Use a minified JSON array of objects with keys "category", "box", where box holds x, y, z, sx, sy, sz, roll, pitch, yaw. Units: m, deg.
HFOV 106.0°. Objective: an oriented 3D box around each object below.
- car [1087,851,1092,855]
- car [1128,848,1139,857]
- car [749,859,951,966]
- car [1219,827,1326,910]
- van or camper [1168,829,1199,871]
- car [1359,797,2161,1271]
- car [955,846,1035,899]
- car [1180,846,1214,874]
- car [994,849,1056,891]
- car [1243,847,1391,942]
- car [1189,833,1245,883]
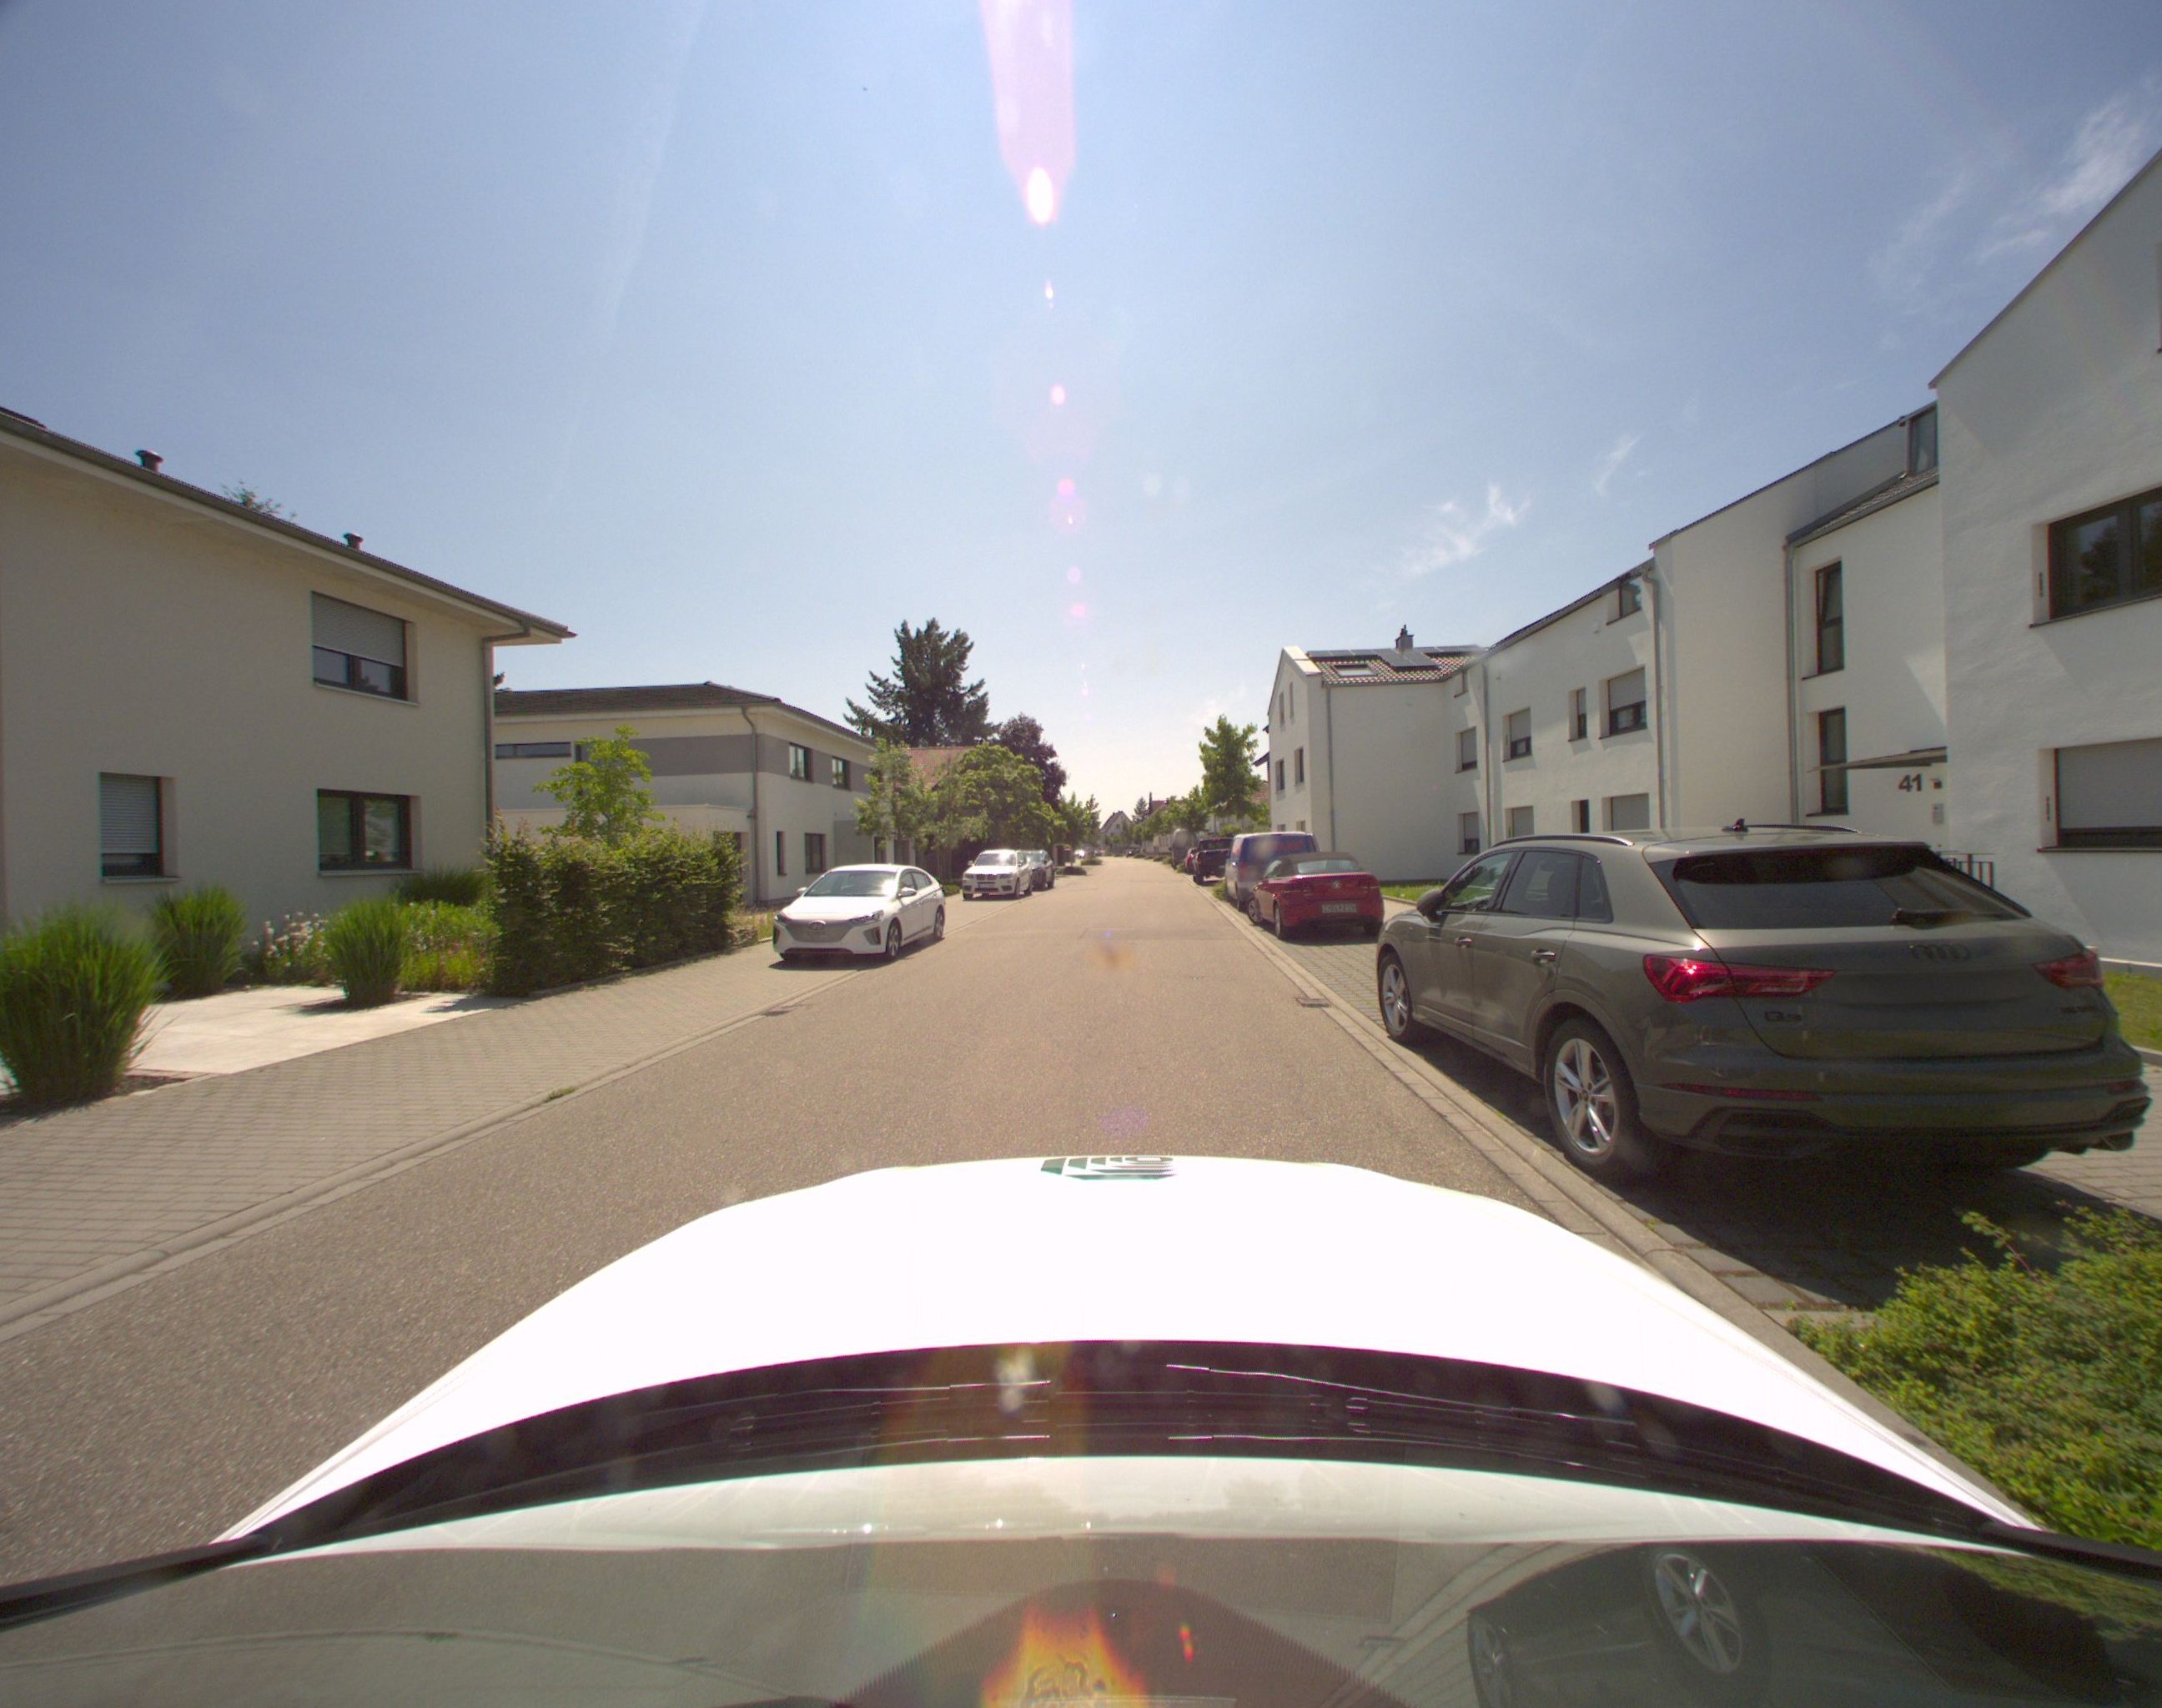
[{"category":"car","box":[2.444,-0.307,225.882,1.186,1.070,3.048,-2,0,-4]},{"category":"car","box":[9.973,-0.279,155.041,1.984,1.574,4.006,-2,0,5]},{"category":"car","box":[-3.682,0.857,13.894,1.843,1.488,4.391,0,0,5]},{"category":"car","box":[4.861,0.339,21.400,2.089,1.882,4.851,-2,0,6]},{"category":"van or camper","box":[7.579,-0.320,60.446,1.984,2.941,4.005,-2,0,5]},{"category":"car","box":[3.225,0.615,4.939,1.766,1.595,4.282,-2,0,3]},{"category":"car","box":[-2.937,0.593,28.873,1.918,1.687,4.505,-2,0,5]},{"category":"car","box":[7.045,0.332,49.735,1.663,1.595,3.558,-2,0,3]},{"category":"car","box":[-2.324,0.649,35.167,1.984,1.680,4.220,-2,0,5]},{"category":"car","box":[4.114,0.630,14.844,1.673,1.441,4.030,-2,0,3]},{"category":"car","box":[5.886,0.171,35.834,1.984,1.947,5.222,-3,0,5]}]
